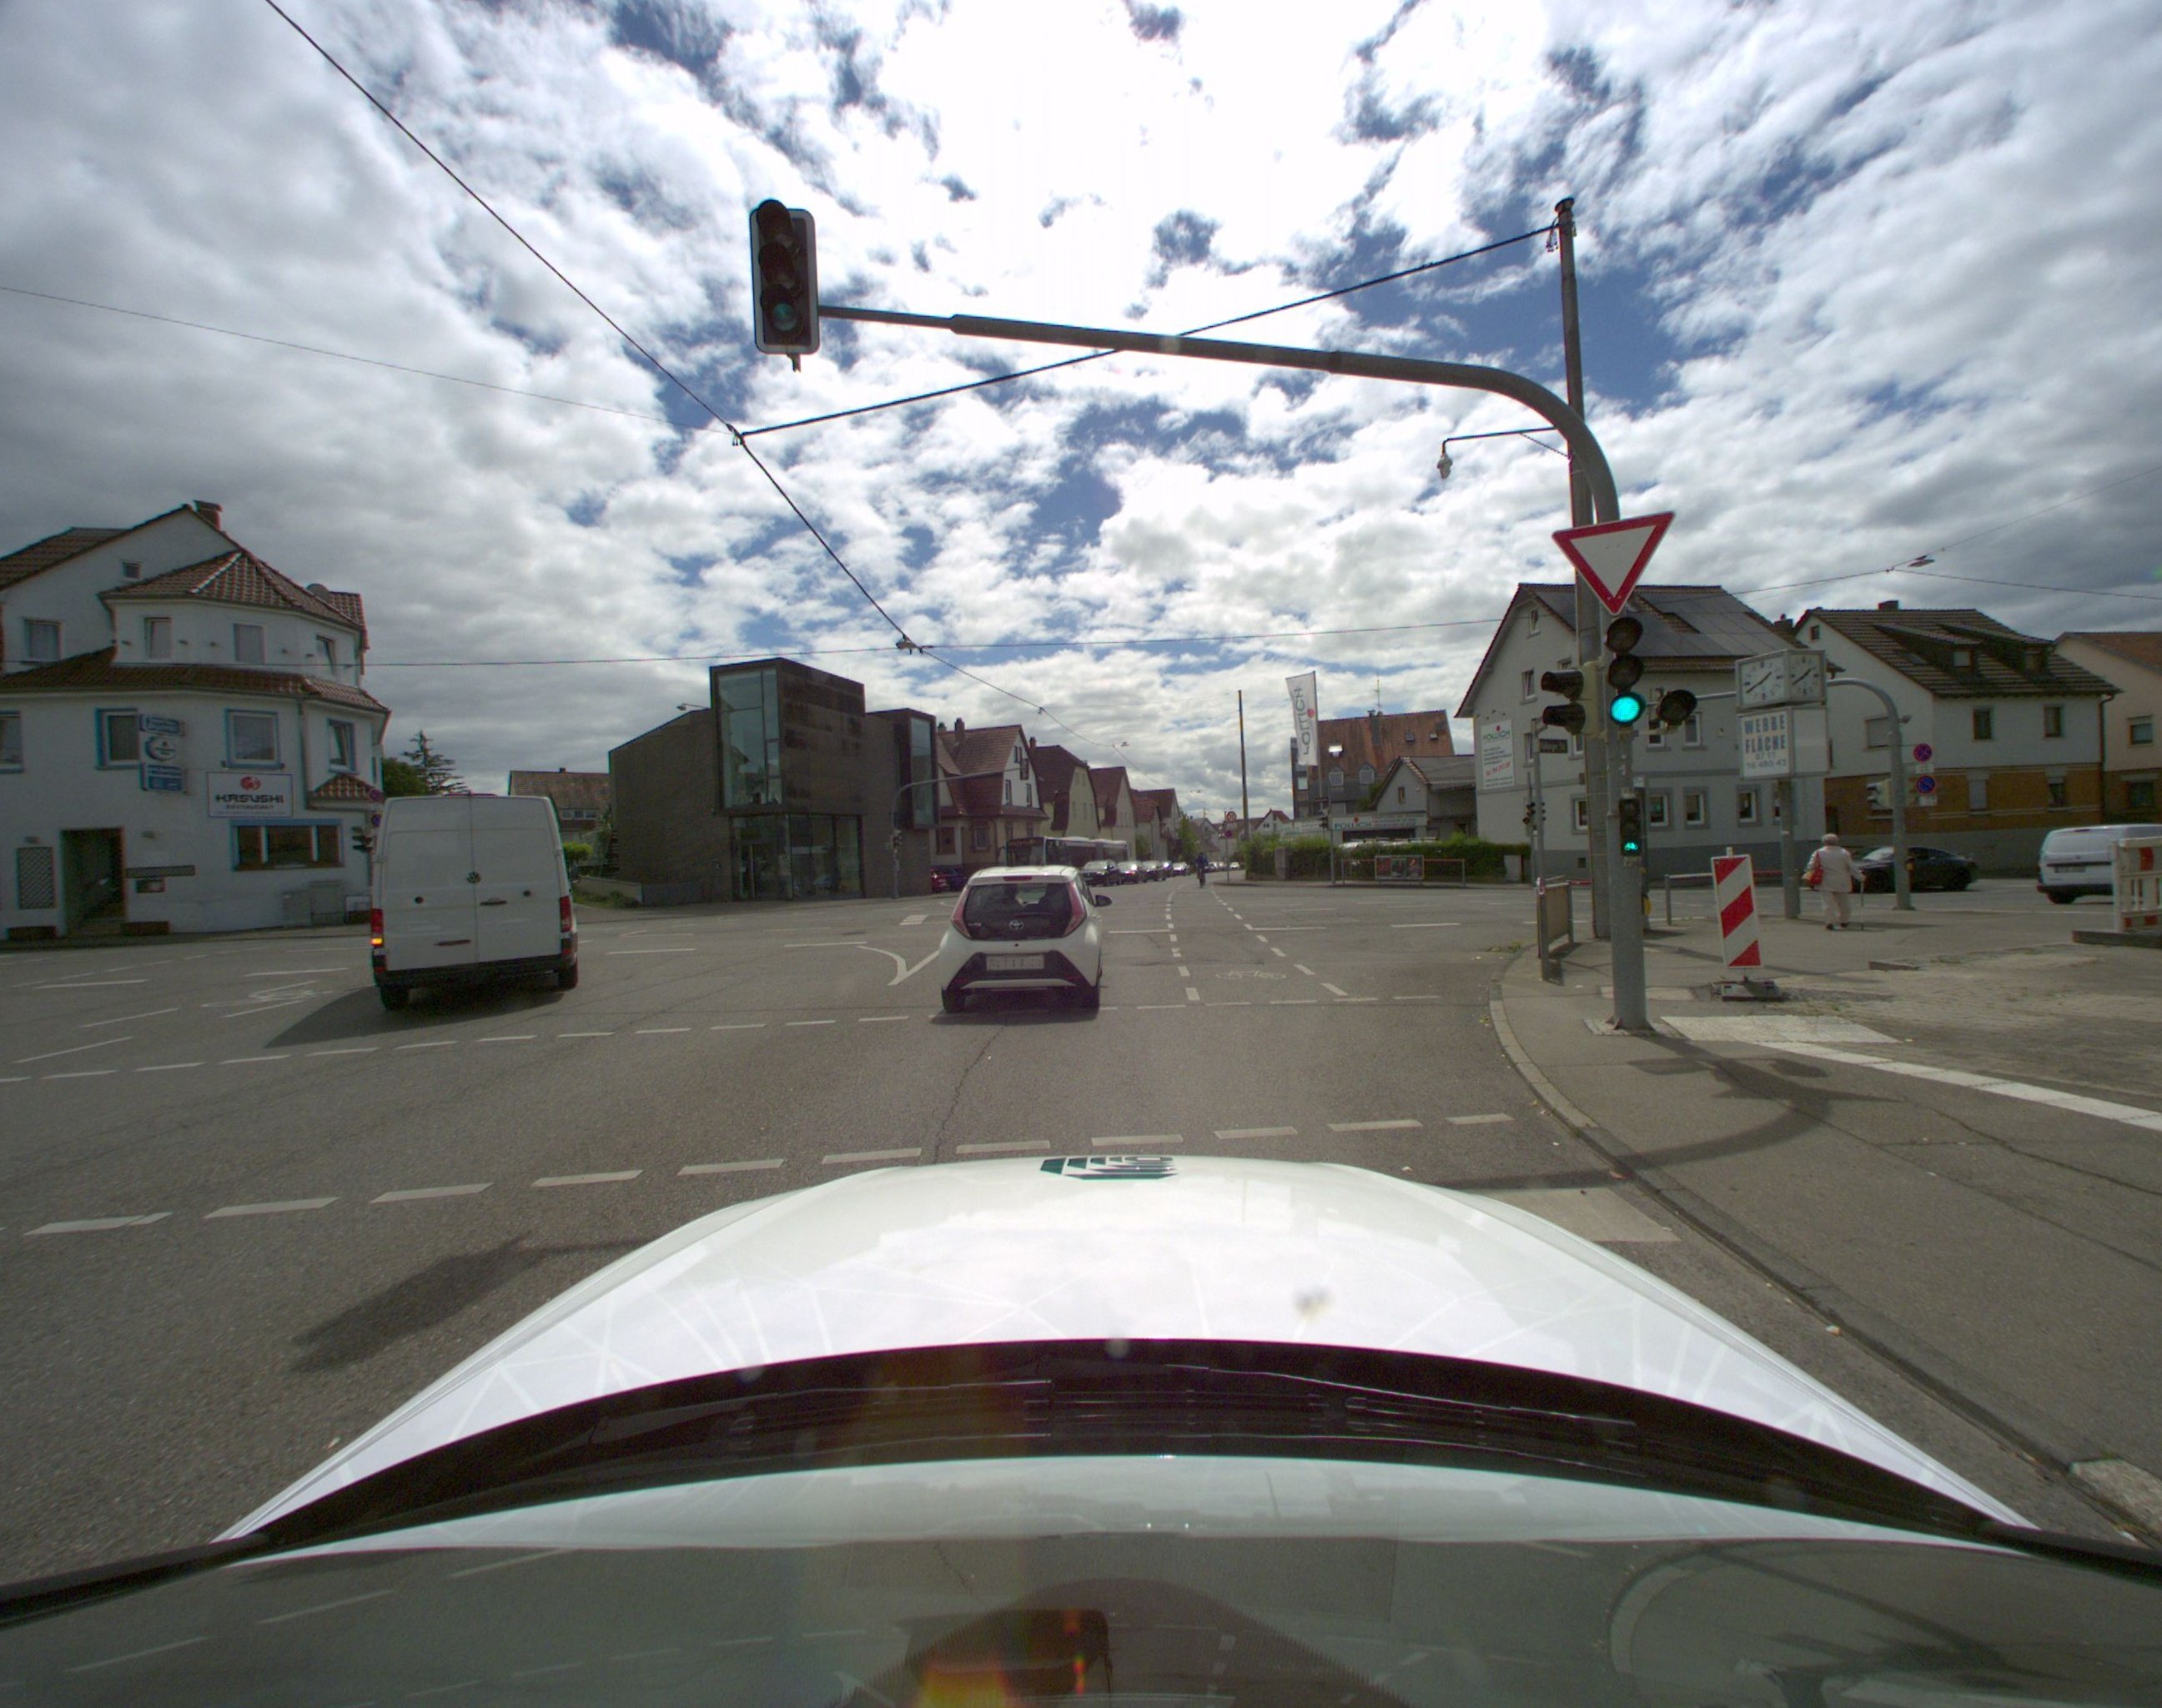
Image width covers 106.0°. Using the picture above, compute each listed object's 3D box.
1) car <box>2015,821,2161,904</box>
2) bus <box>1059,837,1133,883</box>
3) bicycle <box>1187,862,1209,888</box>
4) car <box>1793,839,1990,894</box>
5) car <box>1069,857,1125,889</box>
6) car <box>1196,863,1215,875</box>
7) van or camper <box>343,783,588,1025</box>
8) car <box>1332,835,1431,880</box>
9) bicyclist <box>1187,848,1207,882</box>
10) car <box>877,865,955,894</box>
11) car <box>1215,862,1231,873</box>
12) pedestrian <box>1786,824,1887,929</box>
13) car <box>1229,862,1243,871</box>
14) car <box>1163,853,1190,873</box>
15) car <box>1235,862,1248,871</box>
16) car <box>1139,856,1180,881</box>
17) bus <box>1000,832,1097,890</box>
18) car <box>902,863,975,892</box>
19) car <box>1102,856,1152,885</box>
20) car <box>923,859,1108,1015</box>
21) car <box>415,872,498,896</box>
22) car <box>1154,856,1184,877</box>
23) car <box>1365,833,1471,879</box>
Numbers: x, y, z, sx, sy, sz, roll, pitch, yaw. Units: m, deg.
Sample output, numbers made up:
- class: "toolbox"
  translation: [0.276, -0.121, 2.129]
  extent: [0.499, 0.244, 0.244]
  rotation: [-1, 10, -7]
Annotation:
- class: "car"
  translation: [25.024, 0.140, 19.117]
  extent: [4.473, 1.794, 1.912]
  rotation: [-2, 0, -8]
- class: "bus"
  translation: [1.232, 0.359, 57.900]
  extent: [2.756, 2.914, 9.232]
  rotation: [-2, 0, 17]
- class: "bicycle"
  translation: [5.710, 1.011, 39.887]
  extent: [0.828, 1.164, 2.194]
  rotation: [-2, 0, 3]
- class: "car"
  translation: [24.799, 0.325, 24.994]
  extent: [4.601, 1.457, 1.994]
  rotation: [-2, 2, -10]
- class: "car"
  translation: [0.959, 1.029, 45.782]
  extent: [1.977, 1.640, 4.019]
  rotation: [-2, 0, 19]
- class: "car"
  translation: [17.825, 2.152, 116.706]
  extent: [1.977, 1.640, 4.019]
  rotation: [-2, 0, 19]
- class: "van or camper"
  translation: [-8.420, 0.510, 11.681]
  extent: [2.122, 2.586, 5.588]
  rotation: [-3, 1, -32]
- class: "car"
  translation: [14.551, 0.159, 39.545]
  extent: [3.983, 2.013, 1.995]
  rotation: [-2, 0, -7]
- class: "bicyclist"
  translation: [5.688, 0.518, 39.862]
  extent: [0.837, 1.614, 1.084]
  rotation: [-2, 0, 3]
- class: "car"
  translation: [-9.675, 1.485, 47.767]
  extent: [3.958, 1.640, 2.008]
  rotation: [-1, 0, 14]
- class: "car"
  translation: [22.849, 2.235, 131.045]
  extent: [1.977, 1.640, 4.019]
  rotation: [-2, 0, 19]
- class: "pedestrian"
  translation: [12.469, 0.382, 13.476]
  extent: [0.827, 1.638, 0.877]
  rotation: [-4, -3, 18]
- class: "car"
  translation: [29.064, 2.378, 152.498]
  extent: [1.977, 1.640, 4.019]
  rotation: [-2, 0, 19]
- class: "car"
  translation: [10.094, 0.964, 85.744]
  extent: [1.977, 2.013, 4.019]
  rotation: [-2, 0, 19]
- class: "car"
  translation: [31.989, 2.440, 162.109]
  extent: [1.977, 1.640, 4.019]
  rotation: [-2, 0, 19]
- class: "car"
  translation: [5.581, 1.007, 57.603]
  extent: [1.977, 1.640, 4.019]
  rotation: [-2, 0, 19]
- class: "bus"
  translation: [-1.705, 0.383, 48.528]
  extent: [2.756, 3.060, 9.232]
  rotation: [-2, 0, 17]
- class: "car"
  translation: [-8.826, 1.459, 50.630]
  extent: [3.958, 1.684, 2.008]
  rotation: [-2, 0, 14]
- class: "car"
  translation: [2.918, 0.995, 50.659]
  extent: [1.977, 1.640, 4.203]
  rotation: [-2, 0, 19]
- class: "car"
  translation: [-0.580, 0.823, 9.704]
  extent: [1.731, 1.460, 3.534]
  rotation: [-2, 0, 2]
- class: "car"
  translation: [-38.652, 1.829, 50.478]
  extent: [4.020, 1.310, 1.516]
  rotation: [-2, 0, -39]
- class: "car"
  translation: [8.862, 1.226, 81.935]
  extent: [1.976, 2.013, 4.021]
  rotation: [-2, 0, 21]
- class: "car"
  translation: [15.229, 0.092, 36.915]
  extent: [3.984, 1.948, 1.994]
  rotation: [-2, -1, -8]
